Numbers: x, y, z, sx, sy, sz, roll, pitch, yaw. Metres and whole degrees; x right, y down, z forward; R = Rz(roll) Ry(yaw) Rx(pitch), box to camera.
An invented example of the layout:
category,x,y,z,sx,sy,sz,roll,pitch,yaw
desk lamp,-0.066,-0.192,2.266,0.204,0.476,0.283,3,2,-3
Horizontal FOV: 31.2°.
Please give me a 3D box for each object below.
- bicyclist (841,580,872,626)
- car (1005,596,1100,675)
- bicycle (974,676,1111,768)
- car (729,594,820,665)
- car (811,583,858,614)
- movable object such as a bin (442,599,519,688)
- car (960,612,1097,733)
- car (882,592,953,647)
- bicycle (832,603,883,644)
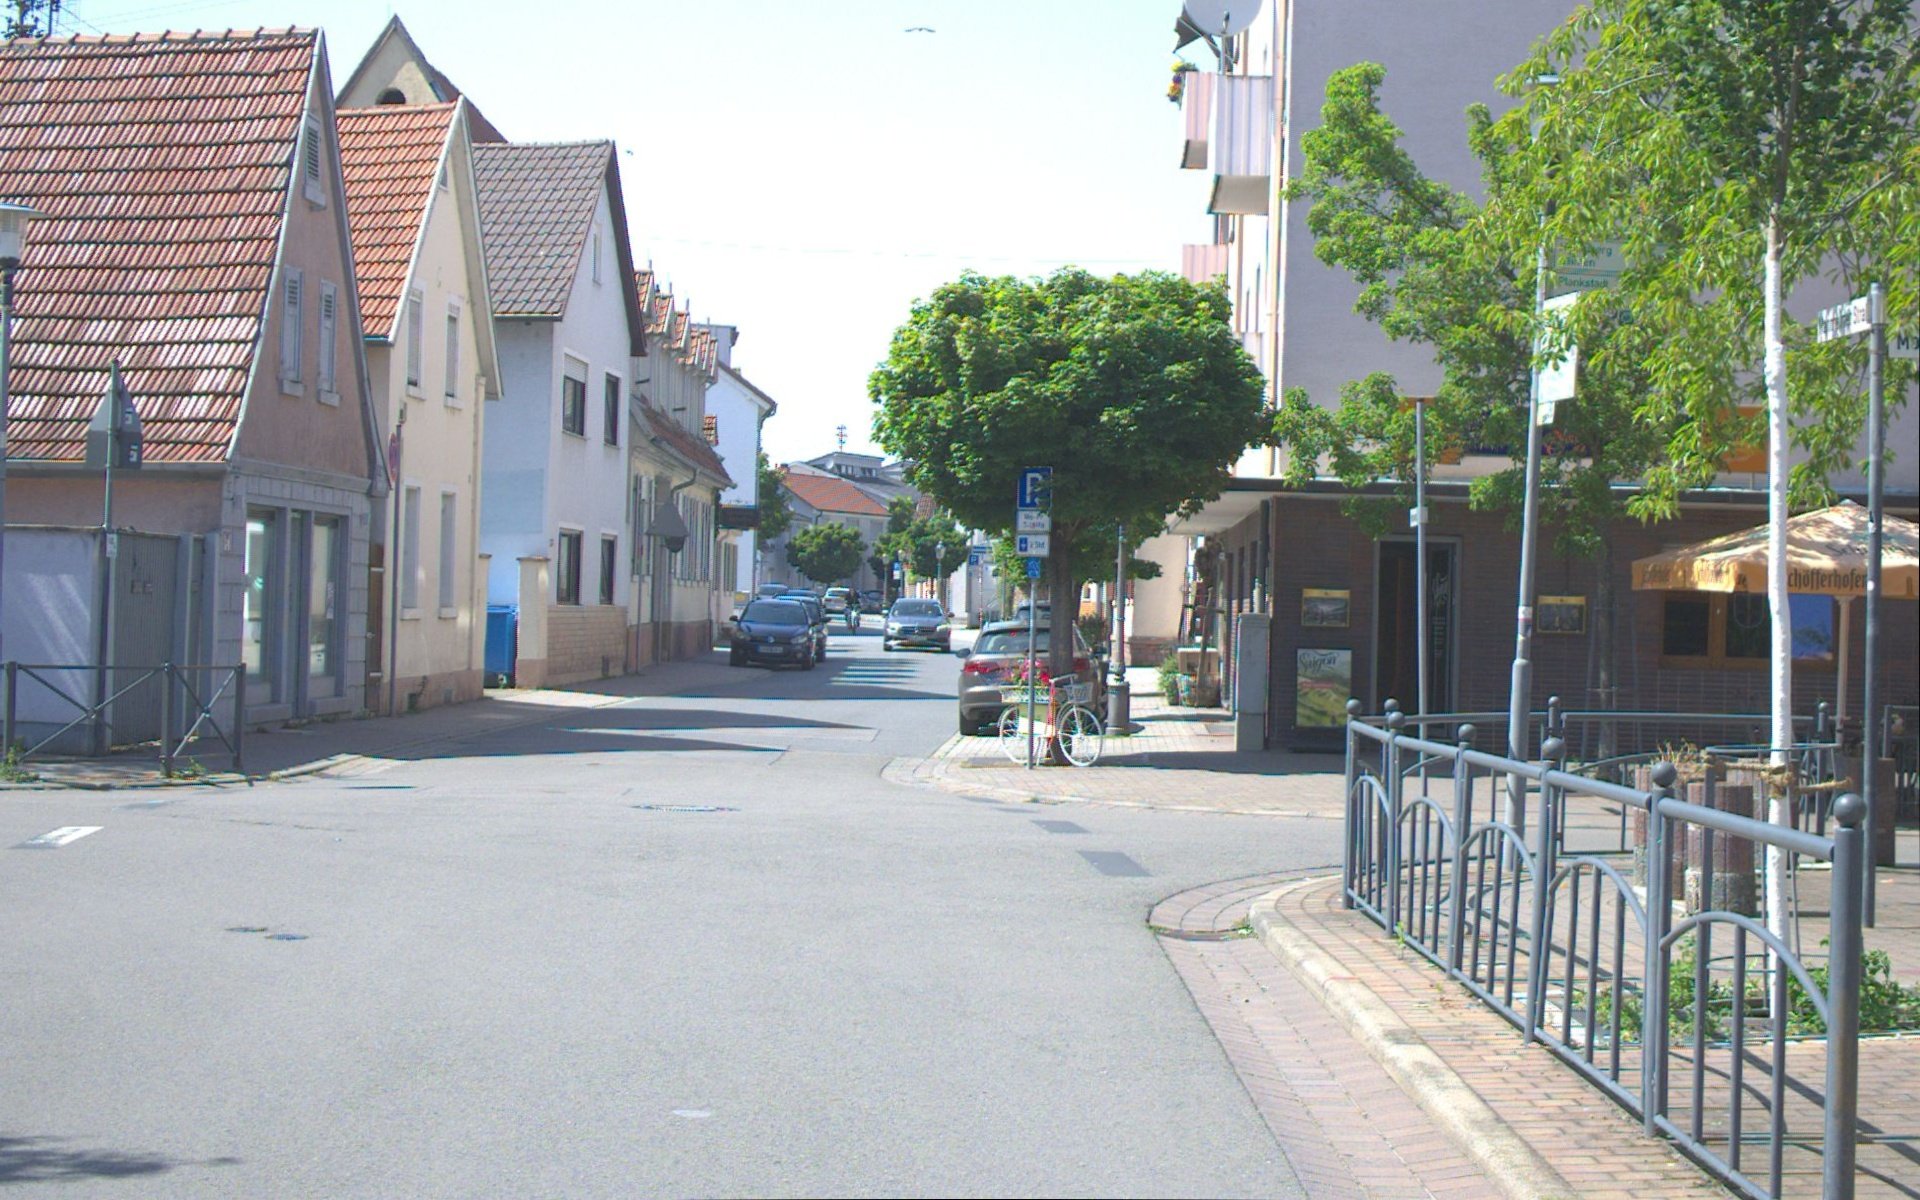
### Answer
category,x,y,z,sx,sy,sz,roll,pitch,yaw
bicyclist,-3.675,0.108,121.814,1.046,1.632,1.128,1,0,-4
car,2.089,0.781,77.651,2.043,1.683,4.841,1,0,2
bicycle,0.837,1.240,35.175,1.413,0.894,0.464,0,0,39
car,-4.015,0.632,75.021,1.663,1.471,4.134,1,0,1
car,-6.841,-0.083,187.702,2.027,1.593,4.508,1,0,5
movable object such as a bin,-7.490,0.673,53.722,1.102,1.361,0.390,1,0,6
car,0.902,0.898,43.805,1.576,1.449,3.485,1,0,4
car,-1.162,0.562,96.193,1.909,1.476,4.844,1,-1,0
bicycle,-3.641,0.821,121.806,1.623,1.366,3.926,1,0,-4
